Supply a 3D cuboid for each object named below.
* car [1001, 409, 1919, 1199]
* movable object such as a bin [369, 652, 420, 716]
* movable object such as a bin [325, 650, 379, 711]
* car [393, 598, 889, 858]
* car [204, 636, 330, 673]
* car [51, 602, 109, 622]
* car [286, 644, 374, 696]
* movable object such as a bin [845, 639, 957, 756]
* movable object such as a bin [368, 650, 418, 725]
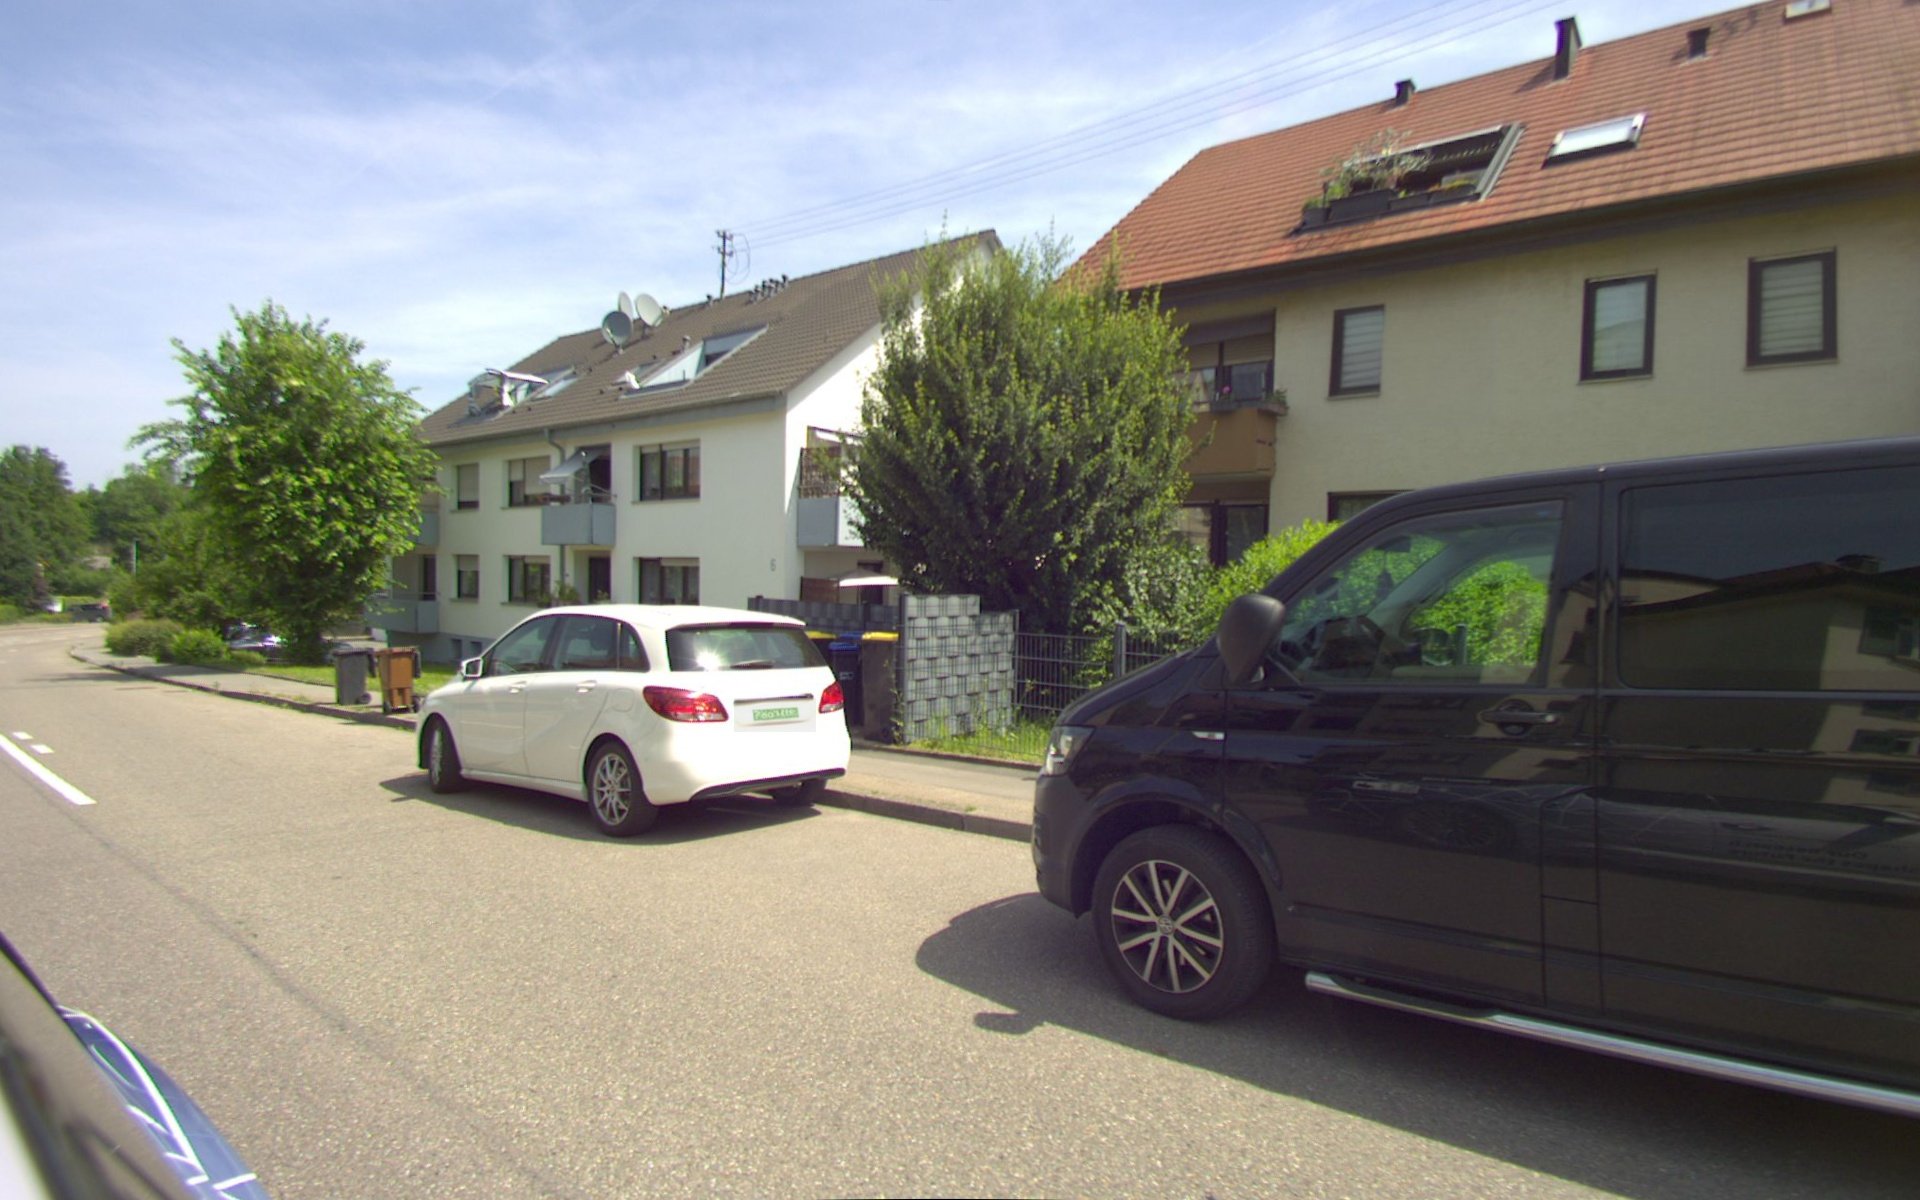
[{"bbox_3d":[2.630,0.547,3.247,4.865,1.935,1.878,-1,-2,39],"label":"car"},{"bbox_3d":[-8.755,1.286,15.671,0.556,0.924,0.643,1,-1,-42],"label":"movable object such as a bin"},{"bbox_3d":[-9.747,1.275,16.222,0.612,0.924,0.687,1,-1,-42],"label":"movable object such as a bin"},{"bbox_3d":[-2.731,0.809,8.136,4.239,1.561,1.793,-1,-1,40],"label":"car"},{"bbox_3d":[-28.350,2.245,41.494,1.646,1.256,3.915,-1,-6,41],"label":"car"},{"bbox_3d":[-86.755,1.193,99.806,3.844,1.964,1.961,0,-1,-16],"label":"car"},{"bbox_3d":[-22.083,2.406,35.473,3.226,1.551,1.458,2,0,35],"label":"car"},{"bbox_3d":[-0.587,0.952,10.194,0.695,1.078,0.890,-1,-1,41],"label":"movable object such as a bin"},{"bbox_3d":[-8.021,1.222,14.313,0.500,0.995,0.564,0,-1,-42],"label":"movable object such as a bin"}]
